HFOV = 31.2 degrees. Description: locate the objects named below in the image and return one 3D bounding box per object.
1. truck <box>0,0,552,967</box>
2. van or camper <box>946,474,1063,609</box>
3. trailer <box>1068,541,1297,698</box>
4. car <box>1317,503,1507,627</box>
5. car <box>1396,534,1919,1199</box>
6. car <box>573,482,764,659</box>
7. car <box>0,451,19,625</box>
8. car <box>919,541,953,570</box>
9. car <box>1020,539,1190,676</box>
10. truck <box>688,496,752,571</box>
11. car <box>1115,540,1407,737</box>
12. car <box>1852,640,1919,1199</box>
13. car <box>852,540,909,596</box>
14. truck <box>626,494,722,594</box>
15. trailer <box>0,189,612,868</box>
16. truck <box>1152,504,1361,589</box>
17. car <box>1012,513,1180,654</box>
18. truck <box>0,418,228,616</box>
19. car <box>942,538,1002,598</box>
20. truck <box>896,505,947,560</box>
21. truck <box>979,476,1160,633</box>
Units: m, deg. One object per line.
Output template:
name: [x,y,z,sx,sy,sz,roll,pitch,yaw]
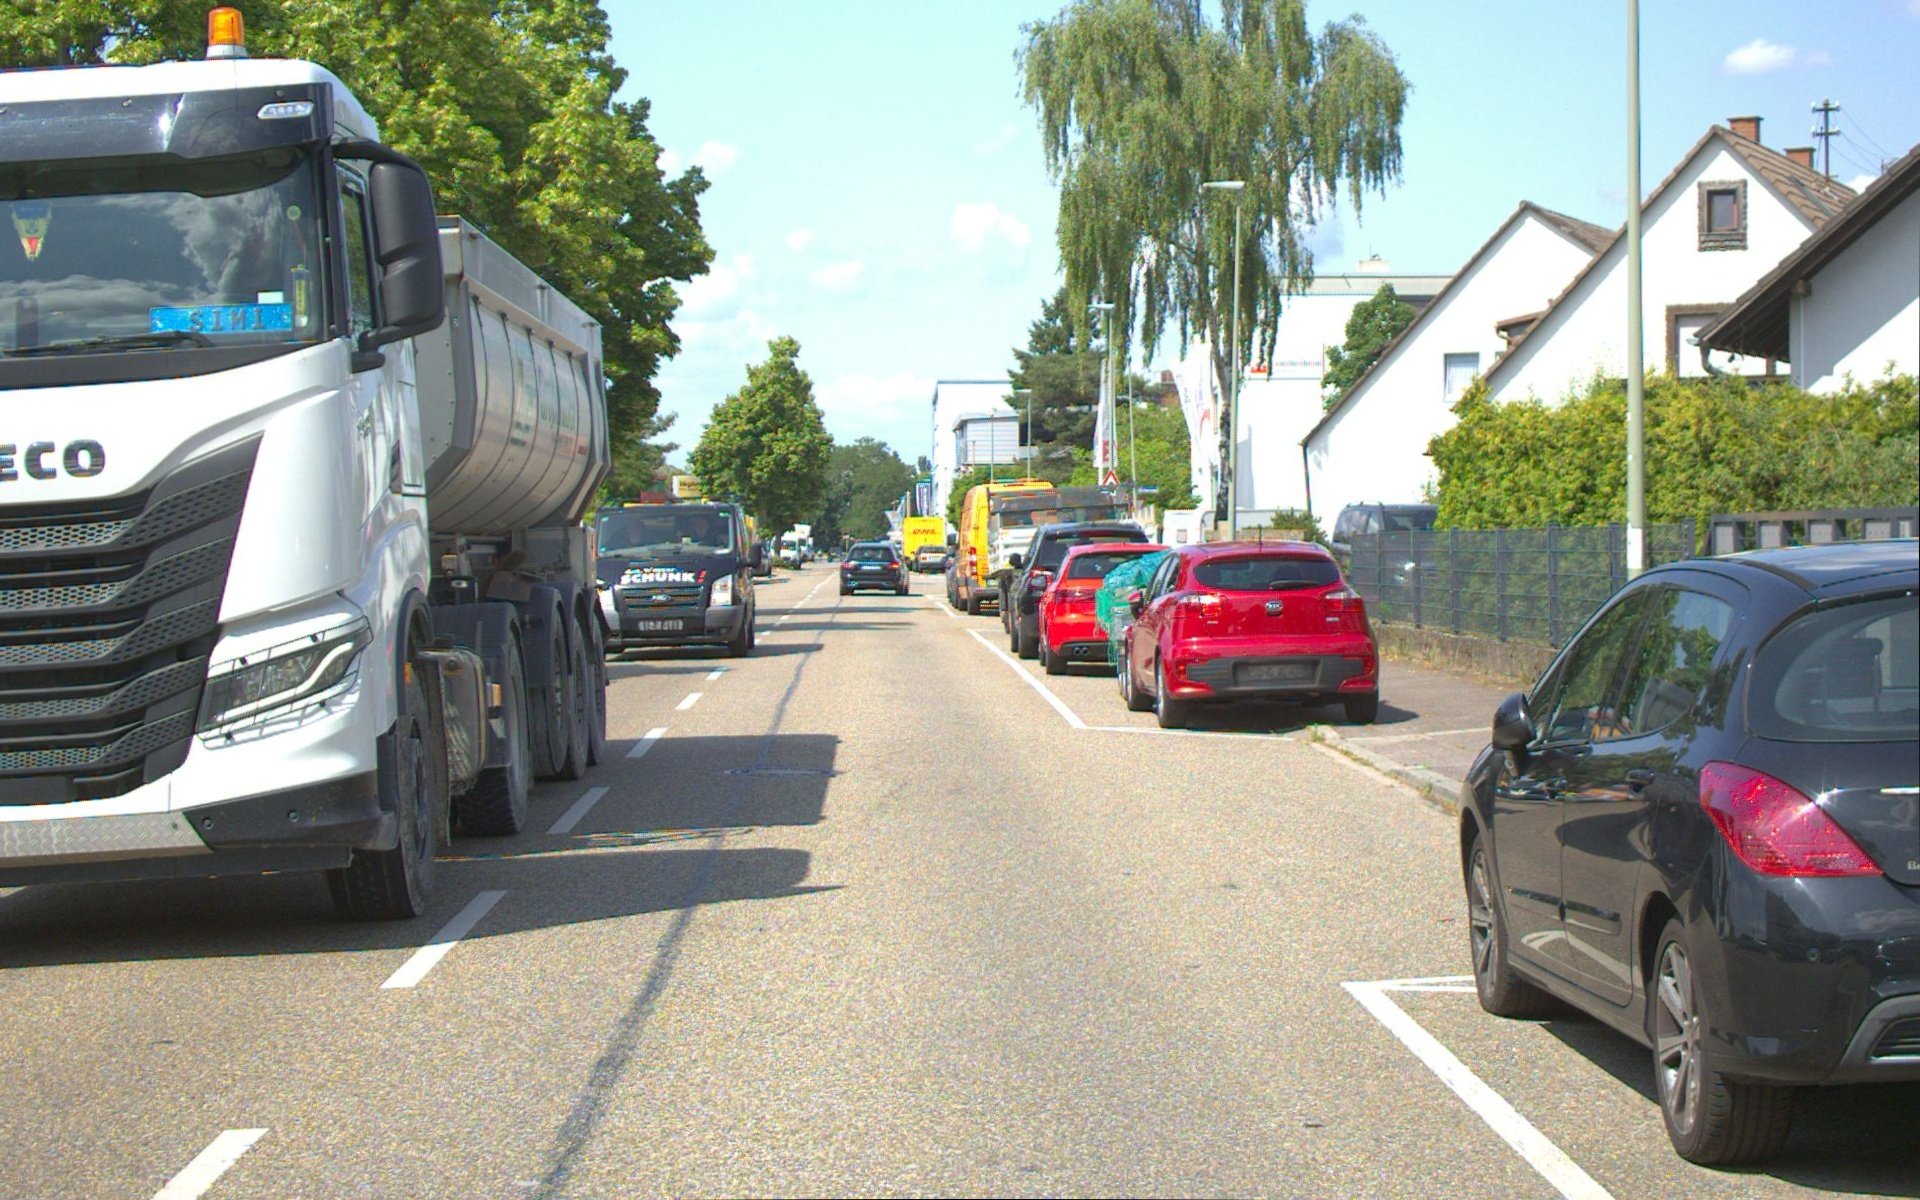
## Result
truck: [-3.431,-0.495,15.167,2.772,3.487,5.882,-1,1,-3]
van or camper: [0.868,-1.210,70.784,1.993,2.655,5.770,0,1,-3]
trailer: [2.025,0.135,32.415,1.608,1.373,4.433,0,1,-3]
car: [7.114,-0.584,54.593,1.856,1.859,5.022,-1,1,-6]
car: [2.481,0.615,9.726,1.743,1.545,4.122,2,1,-3]
car: [-3.606,-0.401,43.340,2.051,2.027,5.142,-2,1,-2]
car: [-14.817,-0.800,43.957,5.003,2.224,1.999,0,0,12]
car: [-1.235,-2.268,175.279,1.651,1.382,4.423,1,1,-1]
car: [1.564,0.042,38.324,1.684,1.430,4.146,0,1,0]
truck: [-9.462,-2.608,136.076,2.269,2.845,7.175,1,0,-2]
car: [2.339,0.245,27.820,1.691,1.458,4.757,0,1,-3]
car: [2.750,0.786,5.330,1.710,1.313,3.963,0,1,0]
car: [-2.200,-0.908,95.297,1.428,1.513,3.017,0,1,1]
truck: [-8.544,-1.686,103.358,2.220,2.847,7.069,1,1,0]
trailer: [-3.617,-0.412,20.019,2.834,3.058,8.891,-1,1,-4]
truck: [9.229,-1.689,106.945,6.039,2.568,2.567,-1,1,-27]
car: [1.637,-0.237,42.869,1.830,1.656,4.554,0,1,-1]
truck: [-15.932,-1.200,51.591,9.259,2.846,2.720,-1,1,3]
car: [0.329,-0.900,94.580,1.610,1.575,4.000,1,1,0]
truck: [-2.138,-3.658,186.957,2.474,2.930,7.189,1,1,-3]
truck: [1.632,-0.730,53.669,2.522,2.291,5.896,-1,1,-1]
